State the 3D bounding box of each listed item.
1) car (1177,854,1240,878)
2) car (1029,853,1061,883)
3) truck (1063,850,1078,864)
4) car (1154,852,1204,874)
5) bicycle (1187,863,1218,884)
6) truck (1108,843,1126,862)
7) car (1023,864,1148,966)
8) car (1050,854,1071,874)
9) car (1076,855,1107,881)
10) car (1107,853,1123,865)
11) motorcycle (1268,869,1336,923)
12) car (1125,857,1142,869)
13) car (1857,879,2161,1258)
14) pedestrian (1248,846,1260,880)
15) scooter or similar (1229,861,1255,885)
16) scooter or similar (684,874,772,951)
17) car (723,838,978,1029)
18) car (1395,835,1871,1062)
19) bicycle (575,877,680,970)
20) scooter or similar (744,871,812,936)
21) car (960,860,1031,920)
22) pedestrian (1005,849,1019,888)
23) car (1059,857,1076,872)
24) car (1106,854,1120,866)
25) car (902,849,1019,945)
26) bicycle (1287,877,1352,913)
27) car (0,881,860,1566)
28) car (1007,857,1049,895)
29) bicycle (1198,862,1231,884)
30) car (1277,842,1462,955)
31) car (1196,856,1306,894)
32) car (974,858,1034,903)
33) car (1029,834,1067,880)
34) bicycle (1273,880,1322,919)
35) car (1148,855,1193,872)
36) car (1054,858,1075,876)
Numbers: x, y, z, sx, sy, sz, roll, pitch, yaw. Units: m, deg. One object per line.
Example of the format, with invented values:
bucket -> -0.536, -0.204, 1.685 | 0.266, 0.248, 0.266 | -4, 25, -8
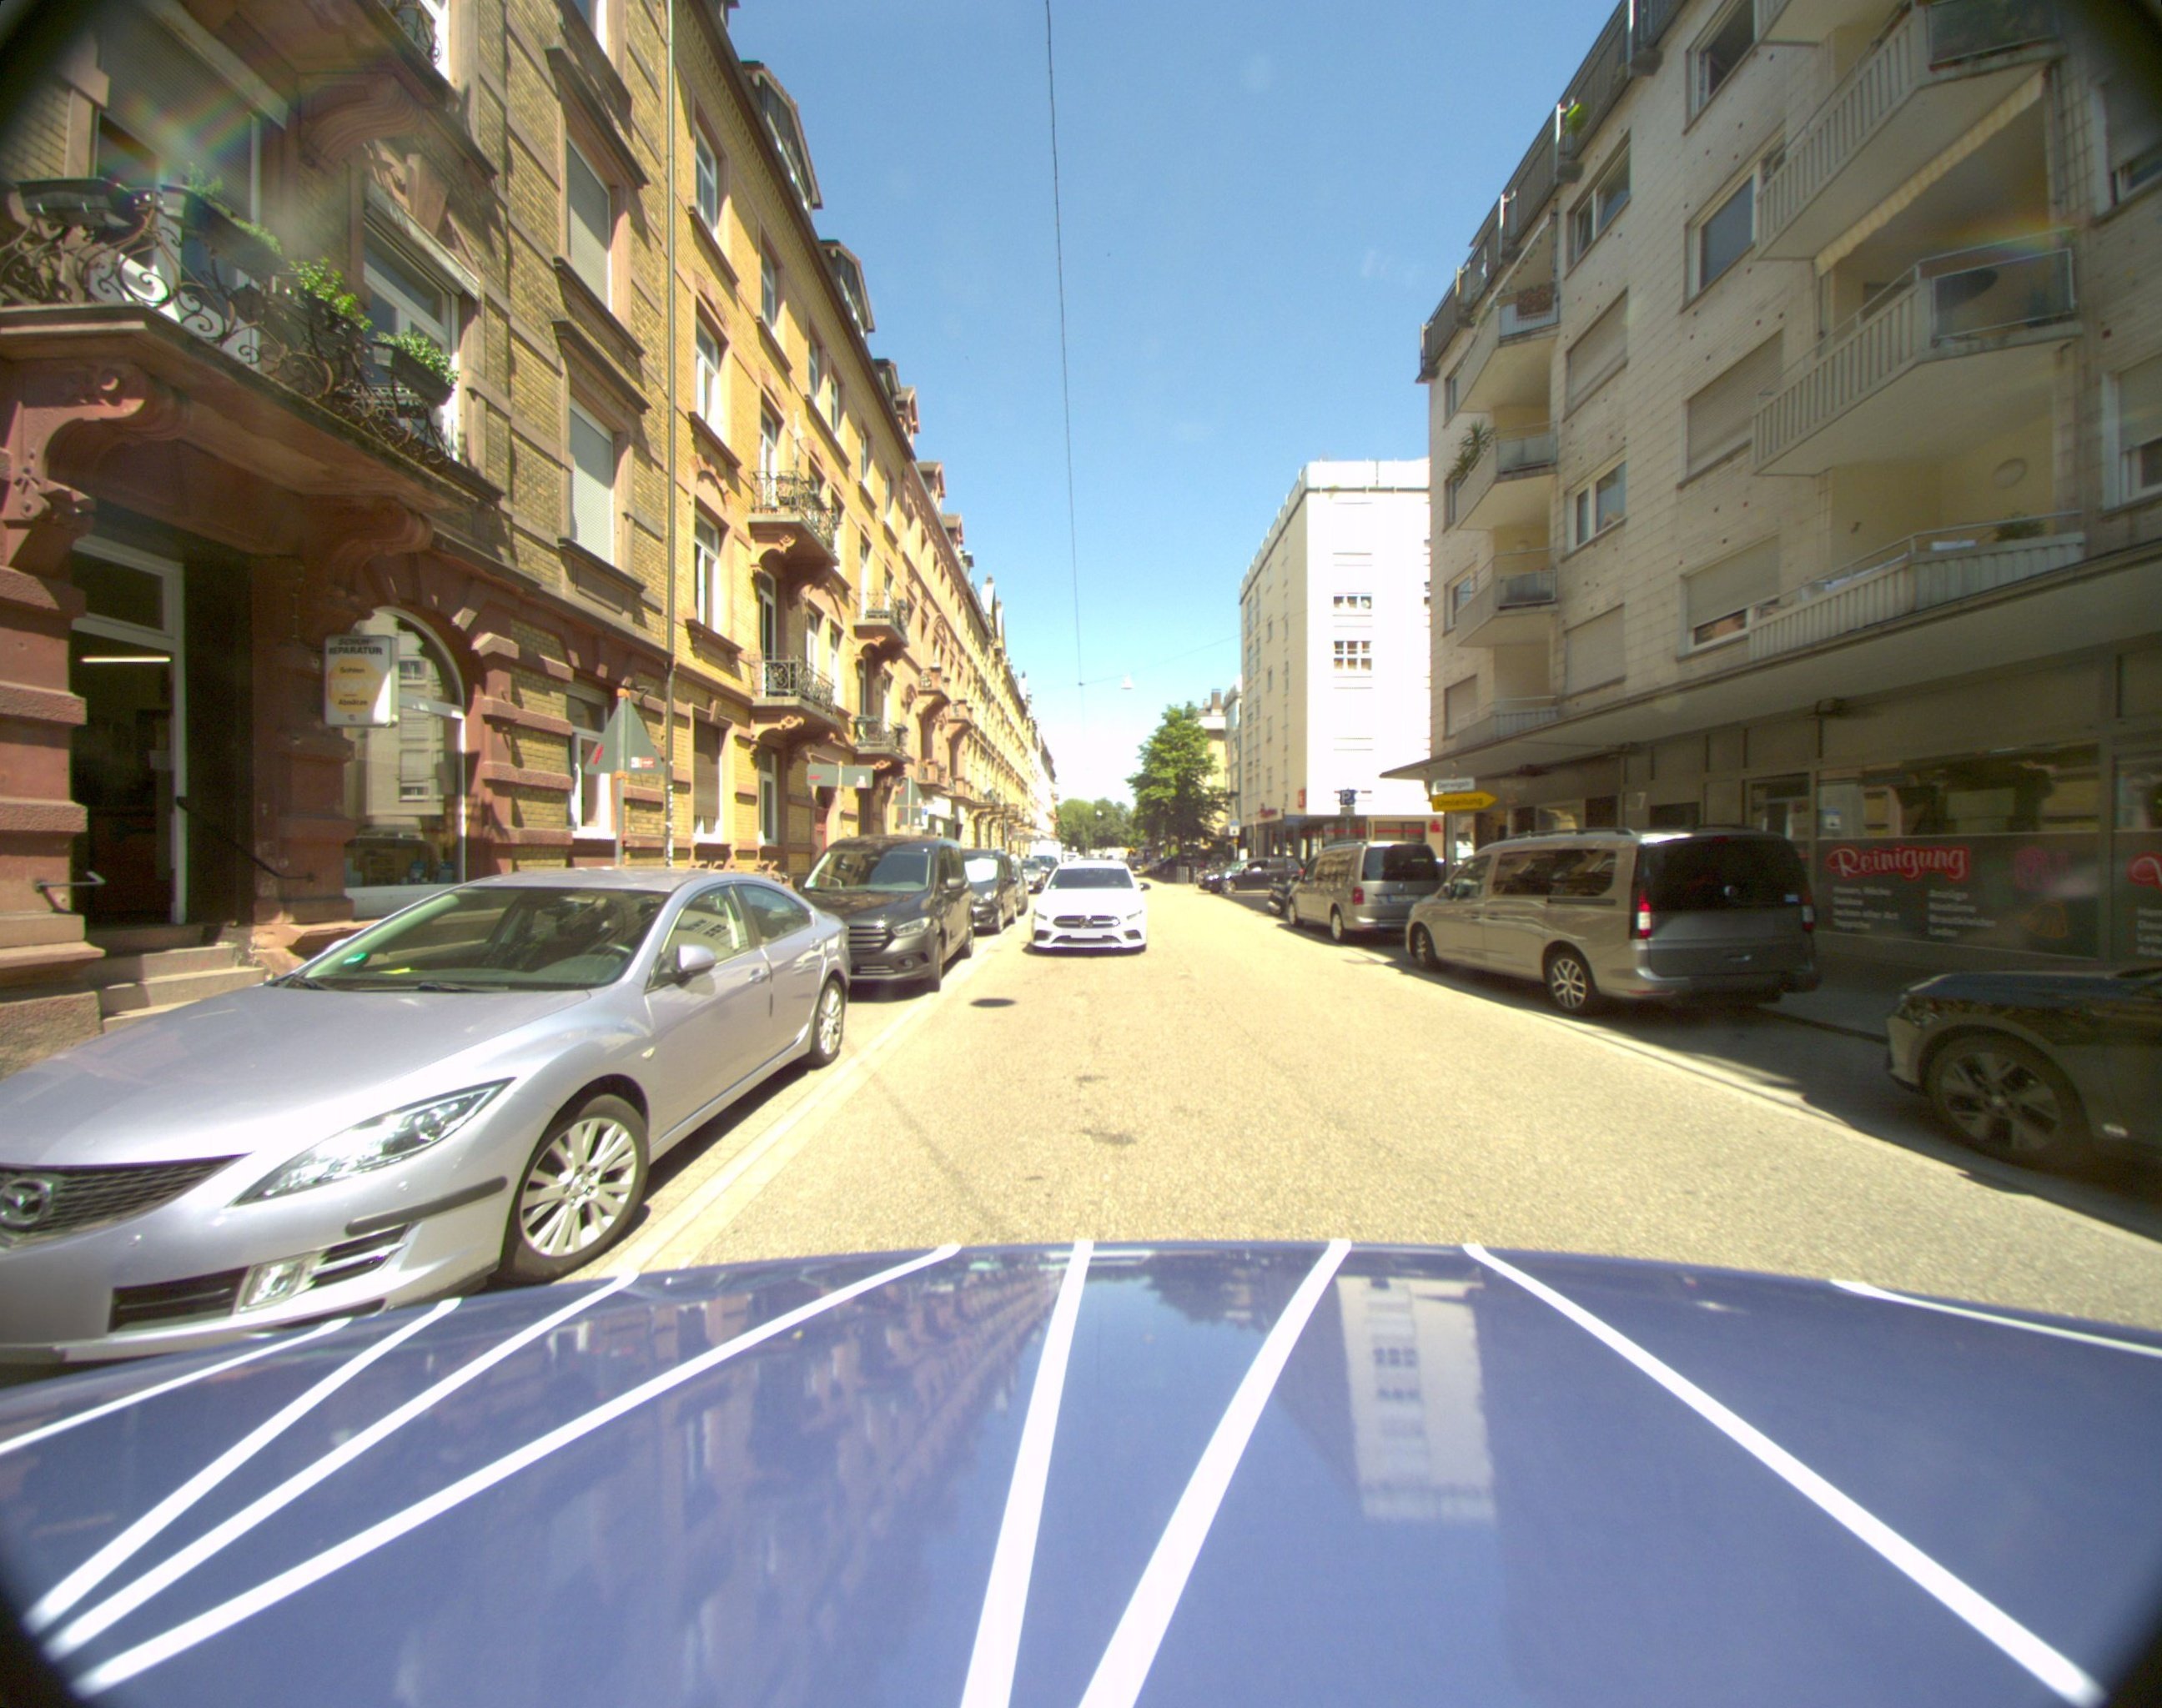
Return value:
car -> 8.371, 0.791, 50.116 | 3.885, 1.520, 1.652 | 0, 0, 0
car -> -2.006, 0.753, 42.701 | 1.682, 1.528, 3.999 | -1, 0, -2
truck -> -1.505, 0.410, 111.861 | 1.998, 2.002, 4.902 | 0, 0, 1
car -> 8.059, 0.735, 62.615 | 3.885, 1.737, 1.652 | 0, 0, 0
bicycle -> 6.485, 1.038, 40.602 | 1.608, 1.084, 0.371 | -2, 0, 6
truck -> 6.641, -0.291, 138.187 | 2.761, 3.270, 4.960 | 0, 0, 9
car -> 0.228, 0.903, 13.101 | 1.813, 1.417, 4.243 | 0, 0, 5
car -> -1.716, 0.803, 63.369 | 1.682, 1.528, 3.999 | -1, 0, -2
car -> 0.625, 0.849, 46.637 | 1.780, 1.460, 4.000 | -2, 0, 1
car -> 4.431, 0.655, 99.755 | 1.998, 1.505, 4.000 | -2, 0, 1
motorcycle -> 5.454, 1.029, 18.790 | 1.552, 1.276, 0.394 | -1, 2, 33
car -> 7.008, 1.155, 101.037 | 1.998, 1.505, 4.000 | -2, 0, 1
car -> 5.336, 0.919, 2.199 | 1.674, 1.516, 4.464 | -1, 0, 1
pedestrian -> 10.834, 0.574, 47.521 | 0.608, 2.113, 0.496 | 0, 1, 36
scooter or similar -> 7.920, 0.944, 37.385 | 1.192, 1.160, 0.289 | 0, 0, -1
scooter or similar -> -5.969, 0.951, 12.976 | 0.477, 1.146, 2.149 | 0, 0, 1
car -> -2.443, 0.739, 9.270 | 1.829, 1.756, 4.337 | 1, 0, -1
car -> 5.476, 0.772, 8.528 | 1.793, 1.801, 4.698 | -1, 0, -2
bicycle -> -6.079, 0.890, 10.286 | 0.354, 1.097, 1.755 | 0, 0, 1
scooter or similar -> -6.008, 0.944, 15.174 | 0.477, 1.146, 2.112 | 0, 0, 1
car -> -2.315, 0.922, 21.095 | 1.766, 1.441, 3.903 | -1, 0, -5
pedestrian -> -3.345, 0.705, 36.736 | 0.635, 1.903, 0.370 | 0, 0, 1
car -> -1.495, 1.107, 82.412 | 1.682, 1.528, 3.999 | -1, 0, -2
car -> 4.901, 0.937, 117.234 | 1.998, 1.674, 4.000 | -2, 0, 1
car -> -2.326, 0.768, 15.693 | 1.706, 1.723, 4.000 | -1, 0, 1
bicycle -> 6.660, 1.141, 21.295 | 1.706, 0.951, 0.411 | -1, 1, 43
car -> -2.670, 0.955, 4.018 | 1.730, 1.424, 4.485 | 1, 0, -1
car -> -2.182, 0.881, 31.929 | 1.603, 1.454, 3.689 | -1, 0, -2
bicycle -> 6.864, 0.997, 39.050 | 1.608, 1.084, 0.371 | -2, 0, 6
car -> 5.358, 0.727, 14.882 | 1.793, 1.818, 4.900 | -1, 0, 1
car -> 6.671, 0.807, 30.059 | 3.891, 1.417, 1.814 | 0, 0, -7
car -> -2.695, 0.888, 27.272 | 1.830, 1.452, 3.999 | -1, 0, -2
car -> -2.033, 0.177, 48.600 | 2.067, 2.687, 5.039 | -2, 0, 1
bicycle -> 5.650, 1.171, 19.868 | 1.210, 0.951, 0.338 | -1, 1, 43
car -> 7.971, 0.841, 68.101 | 3.885, 1.487, 1.652 | 0, 0, 0
car -> -1.261, 0.959, 57.136 | 1.533, 1.293, 3.686 | -1, 0, -2
